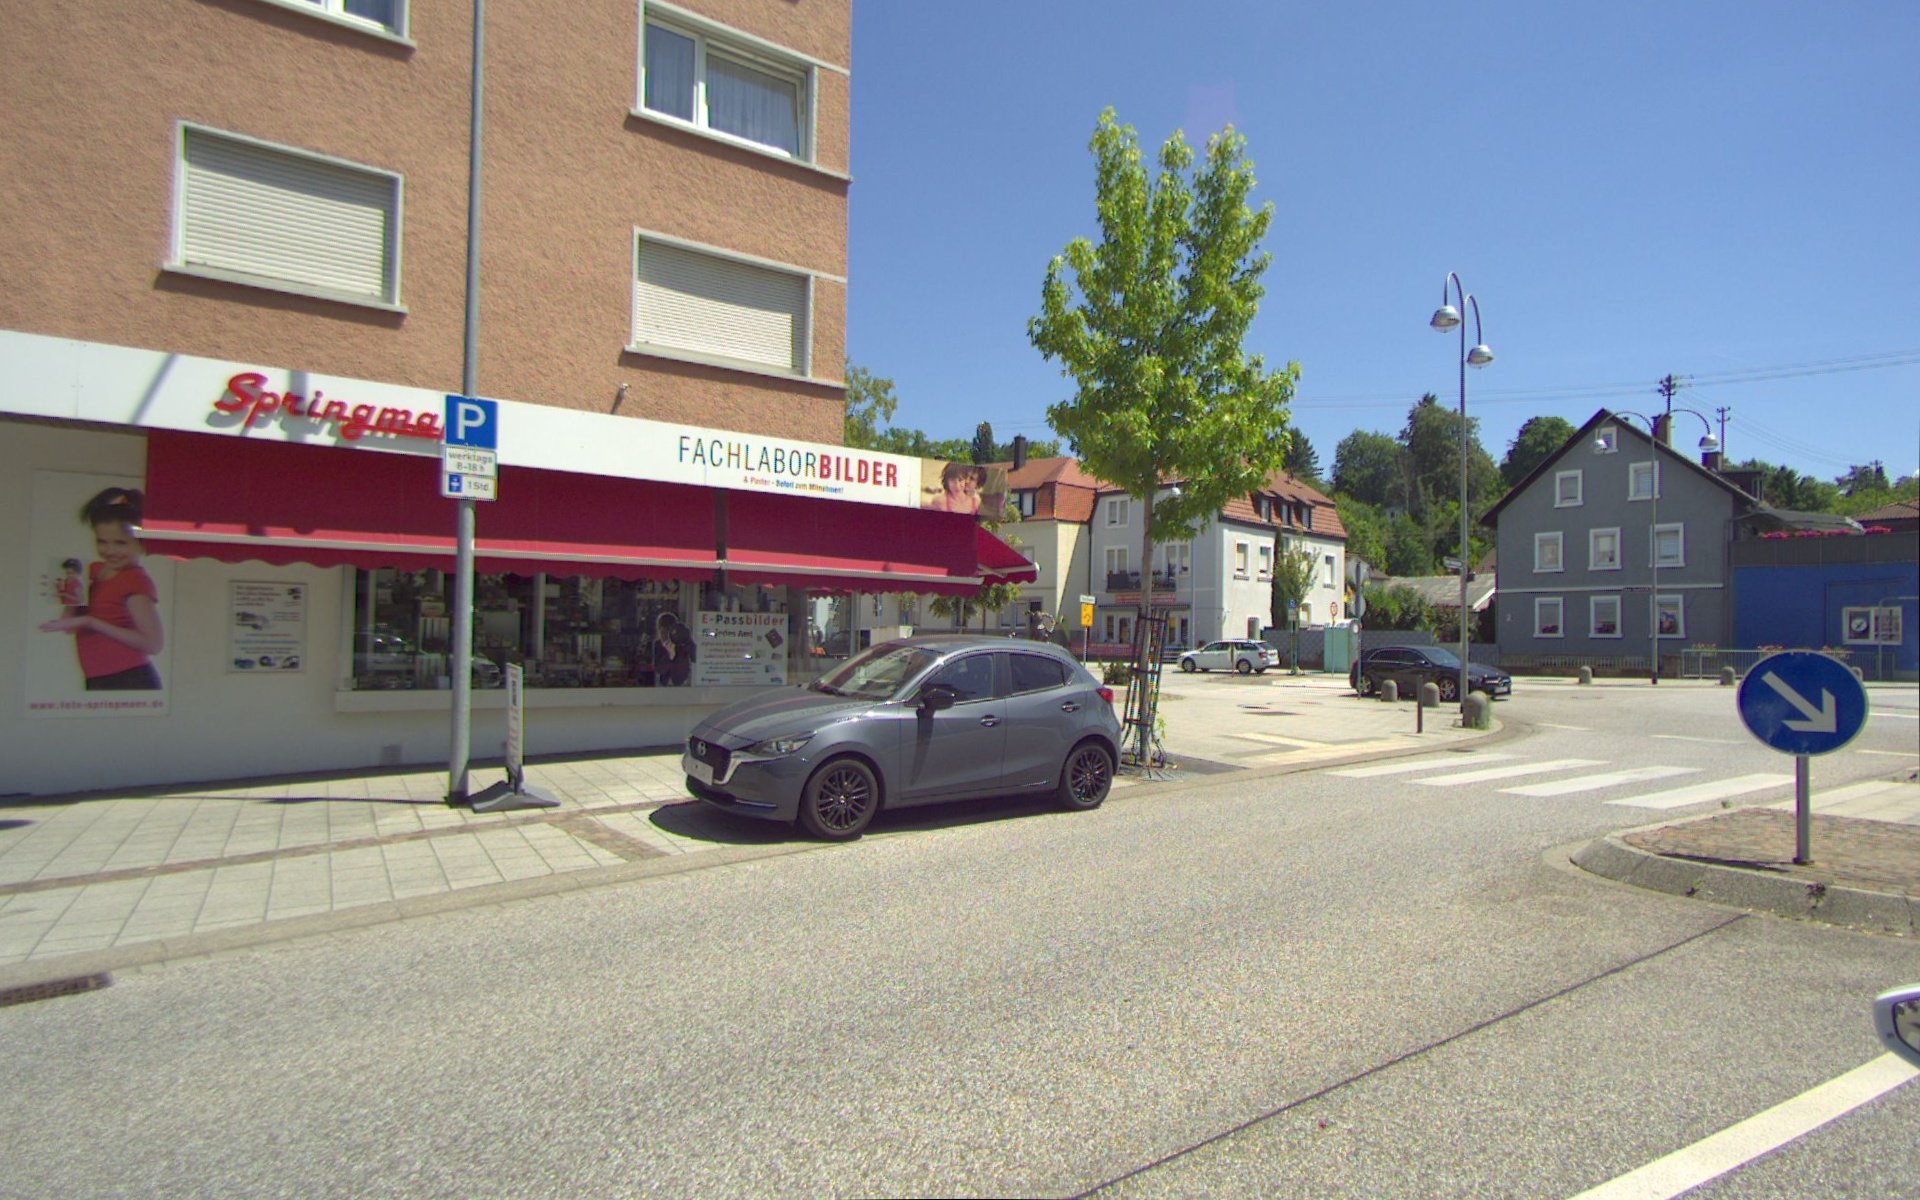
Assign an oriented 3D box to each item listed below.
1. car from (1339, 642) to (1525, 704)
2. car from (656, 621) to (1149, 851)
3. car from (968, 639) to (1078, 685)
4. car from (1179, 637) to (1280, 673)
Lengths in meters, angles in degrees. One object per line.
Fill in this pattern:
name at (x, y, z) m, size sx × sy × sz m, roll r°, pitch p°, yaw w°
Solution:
car at (12.747, 1.917, 27.424) m, size 1.747 × 1.476 × 4.404 m, roll 0°, pitch -2°, yaw -30°
car at (-0.364, 0.990, 8.728) m, size 4.023 × 1.506 × 1.654 m, roll 2°, pitch 0°, yaw -37°
car at (2.258, 2.222, 36.718) m, size 1.782 × 1.544 × 3.953 m, roll 2°, pitch -2°, yaw -40°
car at (11.912, 2.423, 44.568) m, size 4.018 × 1.410 × 1.601 m, roll -1°, pitch 0°, yaw 41°
